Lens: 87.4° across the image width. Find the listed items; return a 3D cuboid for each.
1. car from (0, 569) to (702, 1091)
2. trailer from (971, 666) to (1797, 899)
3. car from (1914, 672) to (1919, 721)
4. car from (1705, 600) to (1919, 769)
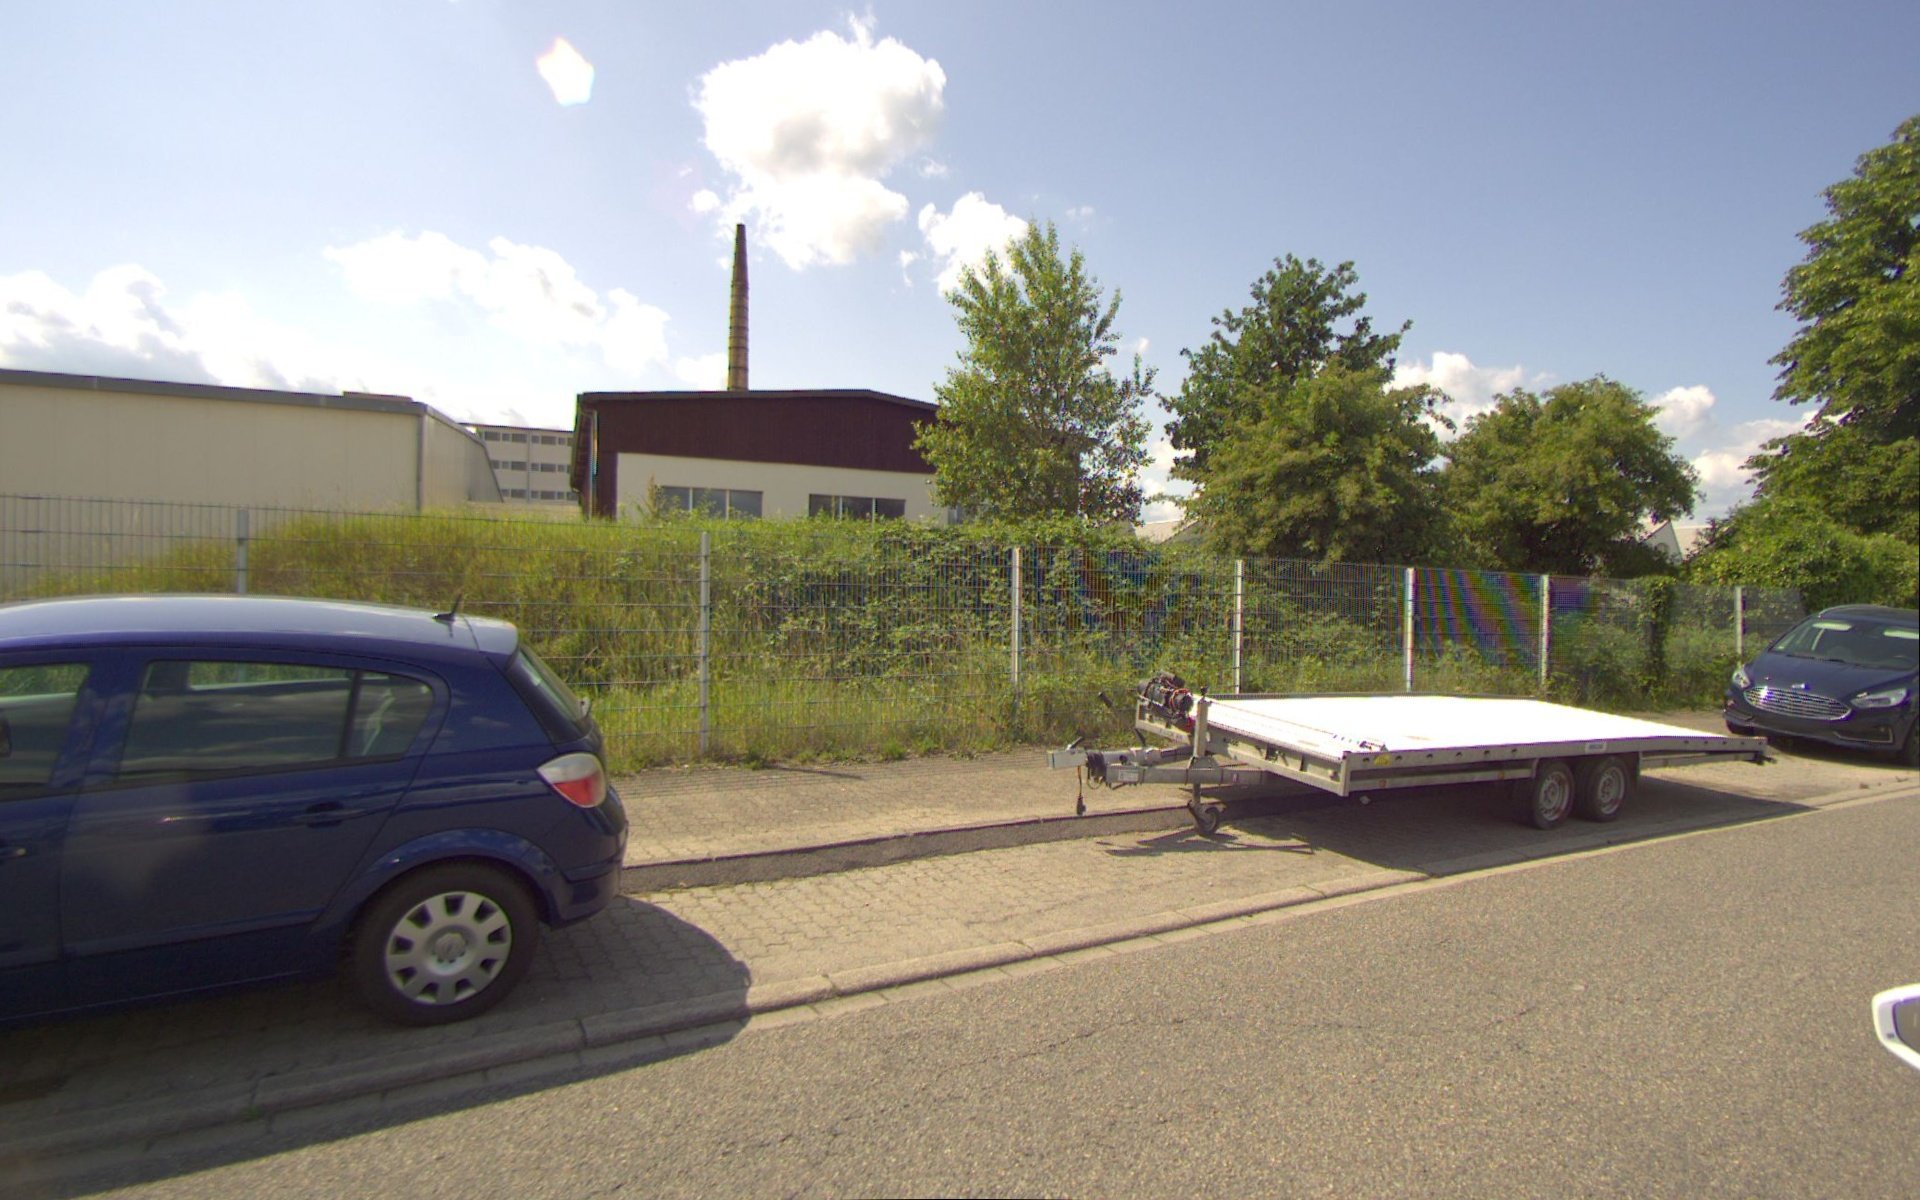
[{"bbox_3d":[-3.224,0.667,3.632,4.155,1.533,1.568,1,1,-32],"label":"car"},{"bbox_3d":[3.712,1.166,8.130,7.044,0.895,2.261,2,4,-29],"label":"trailer"},{"bbox_3d":[16.998,1.113,15.895,4.397,1.715,1.673,1,4,-33],"label":"car"},{"bbox_3d":[11.706,0.958,12.843,4.680,1.817,1.818,1,0,-31],"label":"car"}]
